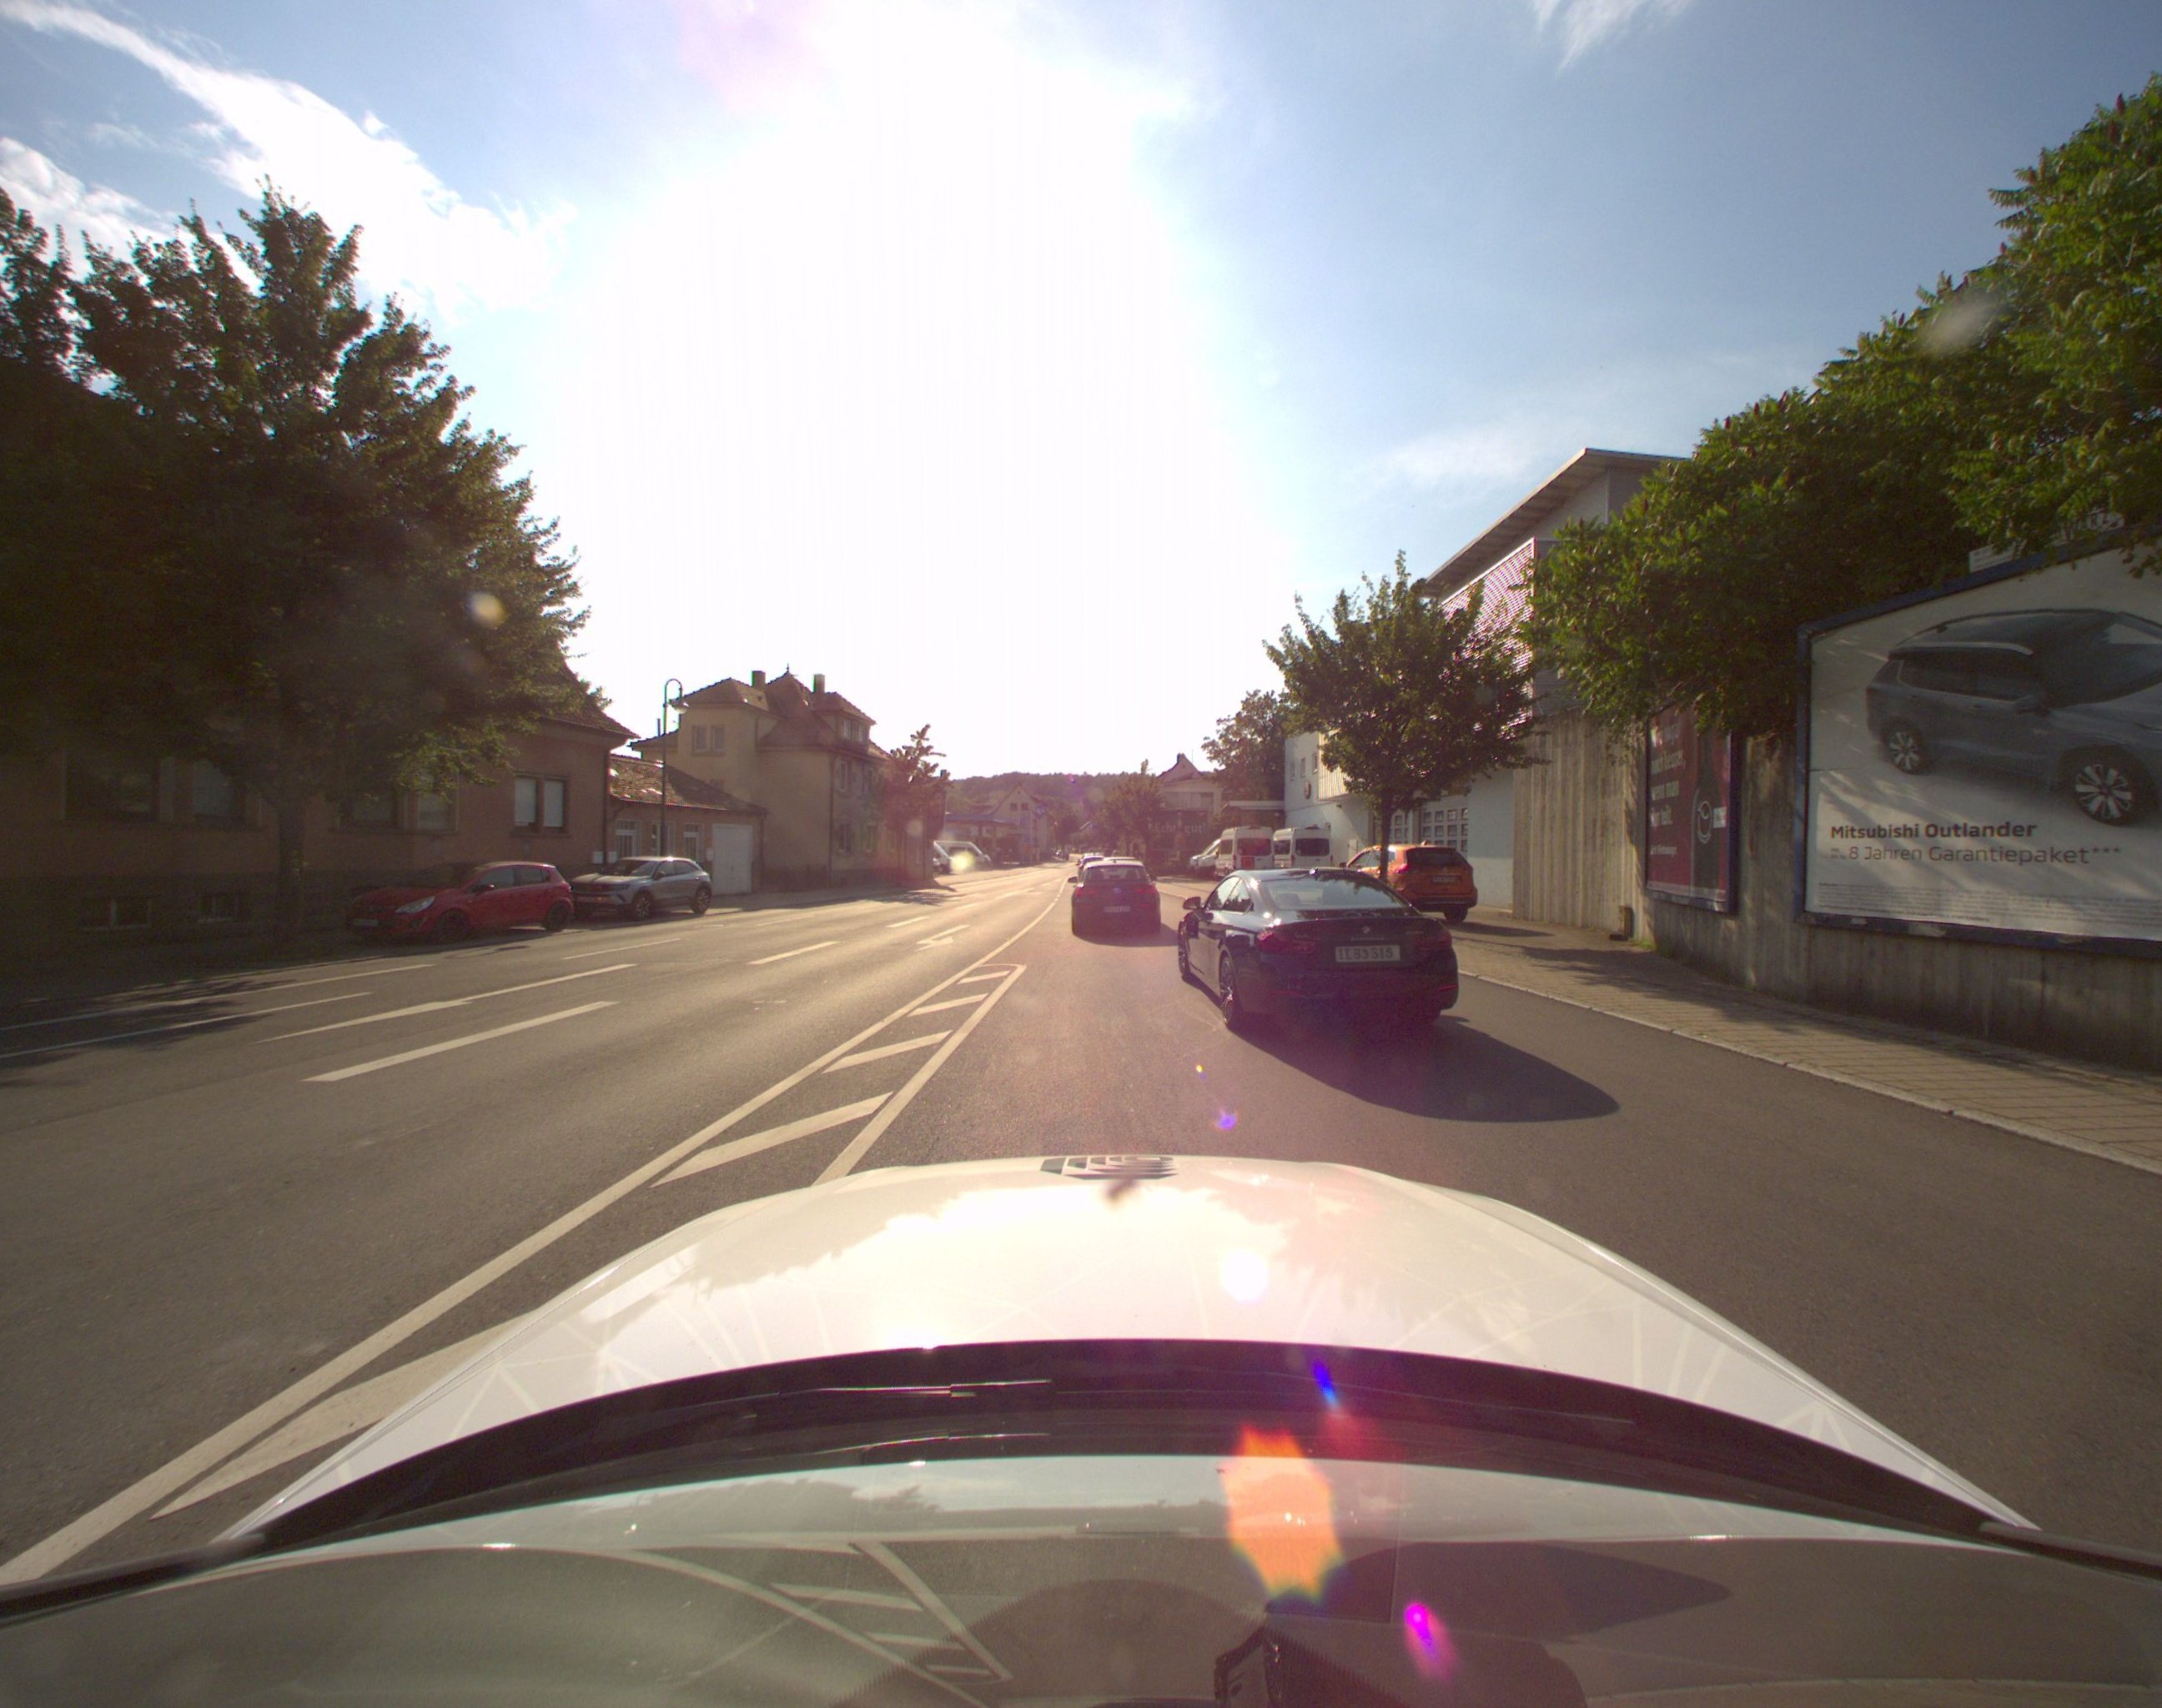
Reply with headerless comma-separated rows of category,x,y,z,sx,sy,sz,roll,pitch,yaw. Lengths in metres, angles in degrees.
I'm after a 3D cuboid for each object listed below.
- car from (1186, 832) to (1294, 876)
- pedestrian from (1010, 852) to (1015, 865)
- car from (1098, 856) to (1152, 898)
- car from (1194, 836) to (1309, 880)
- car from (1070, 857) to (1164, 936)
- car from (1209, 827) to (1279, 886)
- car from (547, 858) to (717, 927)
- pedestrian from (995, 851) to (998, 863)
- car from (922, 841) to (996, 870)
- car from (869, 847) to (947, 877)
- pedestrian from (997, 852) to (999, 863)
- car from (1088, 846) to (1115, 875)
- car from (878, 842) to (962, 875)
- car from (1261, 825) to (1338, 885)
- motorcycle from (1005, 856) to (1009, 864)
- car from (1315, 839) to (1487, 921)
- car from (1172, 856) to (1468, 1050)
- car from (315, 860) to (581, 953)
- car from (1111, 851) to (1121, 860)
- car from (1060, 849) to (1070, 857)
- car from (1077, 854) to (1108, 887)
car,9.378,-0.036,48.482,6.026,2.516,2.043,0,0,-1
pedestrian,-8.664,0.537,103.187,0.609,1.670,0.442,0,0,-2
car,1.587,0.809,30.373,1.749,1.414,3.420,0,0,-1
car,9.487,0.219,45.549,6.026,2.363,2.043,0,0,-1
car,0.759,0.816,17.133,1.764,1.456,3.518,-1,0,3
car,7.985,0.073,40.616,2.142,2.680,6.602,0,0,0
car,-11.401,0.900,21.041,1.746,1.479,4.008,2,1,7
pedestrian,-10.583,0.376,102.128,0.261,1.383,0.288,0,0,-3
car,-10.795,0.126,72.244,6.136,2.444,2.250,0,0,1
car,-12.072,0.533,56.927,4.954,1.999,1.937,1,0,4
pedestrian,-10.381,0.389,101.630,0.286,1.366,0.262,0,0,-3
car,1.345,0.393,52.631,1.596,1.767,3.414,0,0,4
car,-12.318,0.324,62.506,5.890,2.480,2.197,1,1,5
car,10.759,0.026,40.733,2.104,2.722,6.442,0,0,0
motorcycle,-9.312,0.746,102.853,0.362,0.943,1.695,0,0,0
car,7.154,0.520,18.781,1.832,1.649,4.529,0,0,-6
car,2.046,0.750,8.272,1.695,1.369,4.260,-1,1,-1
car,-12.090,0.910,15.945,1.656,1.487,4.009,2,0,8
car,5.924,0.200,137.314,1.591,1.485,3.475,0,0,0
car,-2.931,-0.195,150.393,1.591,1.485,3.475,0,0,0
car,0.587,0.850,43.061,1.586,1.600,3.893,0,0,0
